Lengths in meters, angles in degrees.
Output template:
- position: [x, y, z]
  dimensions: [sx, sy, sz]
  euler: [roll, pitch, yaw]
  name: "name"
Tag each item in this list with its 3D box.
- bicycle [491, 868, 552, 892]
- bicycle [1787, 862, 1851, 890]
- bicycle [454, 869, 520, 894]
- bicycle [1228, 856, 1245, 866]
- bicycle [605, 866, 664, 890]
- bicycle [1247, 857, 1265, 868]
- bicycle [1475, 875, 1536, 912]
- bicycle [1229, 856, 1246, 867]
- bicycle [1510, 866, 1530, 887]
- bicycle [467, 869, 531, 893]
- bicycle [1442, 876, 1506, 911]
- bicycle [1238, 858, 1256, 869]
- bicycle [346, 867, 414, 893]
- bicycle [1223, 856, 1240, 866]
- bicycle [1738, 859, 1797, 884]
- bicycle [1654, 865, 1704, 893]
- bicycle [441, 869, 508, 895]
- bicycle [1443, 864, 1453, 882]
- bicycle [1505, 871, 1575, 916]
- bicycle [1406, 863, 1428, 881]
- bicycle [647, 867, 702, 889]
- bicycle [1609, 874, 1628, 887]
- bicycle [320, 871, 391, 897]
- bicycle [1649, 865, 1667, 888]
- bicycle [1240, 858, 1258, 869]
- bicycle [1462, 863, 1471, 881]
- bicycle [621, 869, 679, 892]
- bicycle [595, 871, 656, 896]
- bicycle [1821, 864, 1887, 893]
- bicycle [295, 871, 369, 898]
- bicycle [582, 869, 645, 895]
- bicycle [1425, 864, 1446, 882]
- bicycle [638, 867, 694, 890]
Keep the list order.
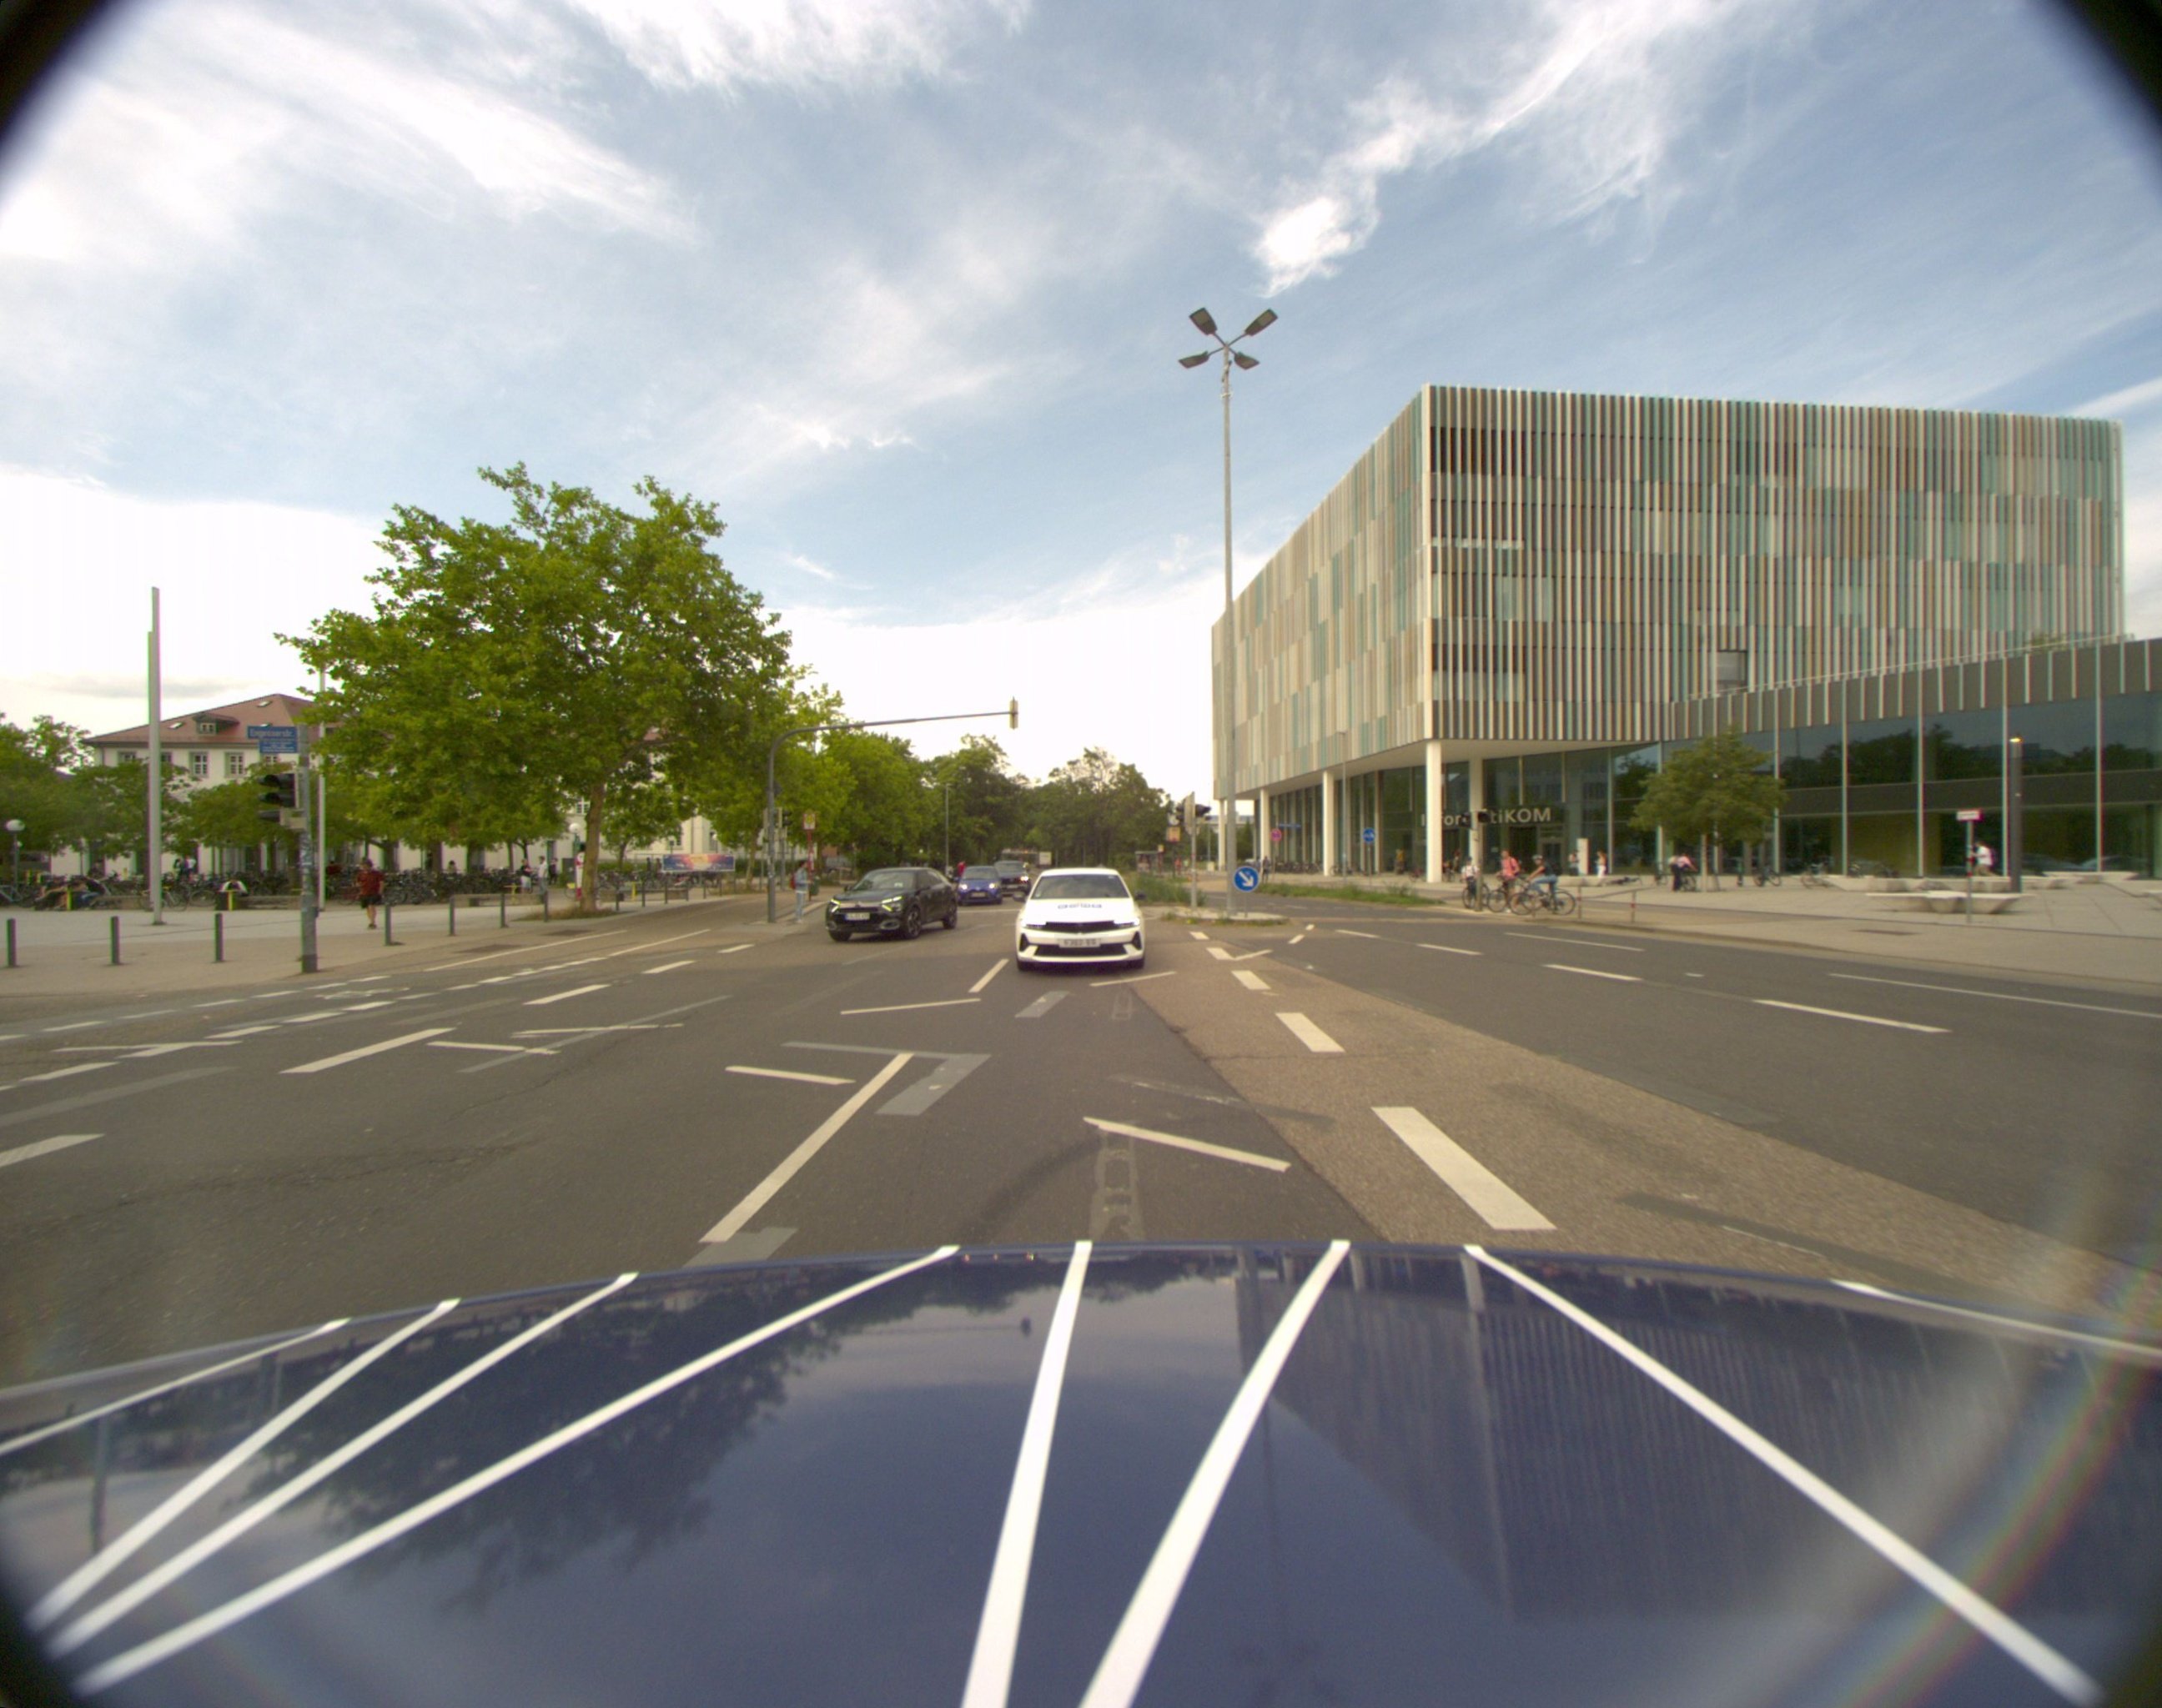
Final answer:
- position: [-28.544, 1.317, 38.775]
  dimensions: [2.473, 1.136, 0.717]
  euler: [-1, 0, -4]
  name: "bicycle"
- position: [30.326, 0.889, 31.229]
  dimensions: [2.685, 1.083, 0.796]
  euler: [-1, 0, -20]
  name: "bicycle"
- position: [-28.391, 1.325, 36.349]
  dimensions: [2.473, 1.136, 0.717]
  euler: [-1, 0, -4]
  name: "bicycle"
- position: [16.852, 0.799, 82.401]
  dimensions: [1.704, 1.017, 0.434]
  euler: [-3, 1, -10]
  name: "bicycle"
- position: [-22.136, 1.201, 37.703]
  dimensions: [2.473, 1.136, 0.717]
  euler: [-1, 0, -4]
  name: "bicycle"
- position: [17.410, 0.851, 75.420]
  dimensions: [1.704, 1.017, 0.389]
  euler: [-3, 1, -10]
  name: "bicycle"
- position: [12.631, 1.159, 22.591]
  dimensions: [1.693, 0.983, 0.571]
  euler: [-2, 1, -19]
  name: "bicycle"
- position: [16.758, 0.808, 81.512]
  dimensions: [1.704, 1.017, 0.434]
  euler: [-3, 1, -10]
  name: "bicycle"
- position: [22.939, 1.178, 39.692]
  dimensions: [1.549, 1.023, 0.393]
  euler: [-3, 1, -42]
  name: "bicycle"
- position: [-28.445, 1.321, 37.143]
  dimensions: [2.473, 1.136, 0.717]
  euler: [-1, 0, -4]
  name: "bicycle"
- position: [12.619, 1.247, 24.389]
  dimensions: [1.824, 0.983, 0.727]
  euler: [-2, 1, -19]
  name: "bicycle"
- position: [16.977, 0.997, 77.890]
  dimensions: [1.704, 1.017, 0.434]
  euler: [-3, 1, -10]
  name: "bicycle"
- position: [-33.602, 1.239, 36.419]
  dimensions: [2.473, 1.136, 0.717]
  euler: [-1, 0, -4]
  name: "bicycle"
- position: [16.634, 0.796, 83.869]
  dimensions: [1.704, 1.017, 0.434]
  euler: [-3, 1, -10]
  name: "bicycle"
- position: [29.323, 0.721, 32.437]
  dimensions: [2.685, 0.993, 0.672]
  euler: [-1, 0, -20]
  name: "bicycle"
- position: [21.958, 0.900, 27.937]
  dimensions: [0.440, 0.993, 1.748]
  euler: [-1, 0, -2]
  name: "bicycle"
- position: [-28.341, 1.293, 35.518]
  dimensions: [2.473, 1.136, 0.717]
  euler: [-1, 0, -4]
  name: "bicycle"
- position: [20.595, 1.055, 42.573]
  dimensions: [0.393, 0.932, 1.601]
  euler: [-2, 1, 29]
  name: "bicycle"
- position: [12.788, 1.085, 21.178]
  dimensions: [1.897, 1.163, 0.606]
  euler: [-1, 0, -20]
  name: "bicycle"
- position: [19.670, 1.053, 44.456]
  dimensions: [1.614, 0.932, 0.393]
  euler: [-3, 1, -38]
  name: "bicycle"
- position: [-21.624, 1.279, 40.432]
  dimensions: [2.473, 1.136, 0.717]
  euler: [-1, 0, -4]
  name: "bicycle"
- position: [25.476, 1.238, 36.008]
  dimensions: [0.622, 0.518, 2.255]
  euler: [-1, 0, 38]
  name: "bicycle"
- position: [-33.500, 1.361, 35.102]
  dimensions: [2.473, 1.136, 0.717]
  euler: [-1, 0, -4]
  name: "bicycle"
- position: [26.688, 1.013, 35.124]
  dimensions: [0.622, 0.979, 2.255]
  euler: [-1, 0, 38]
  name: "bicycle"
- position: [17.071, 0.994, 77.044]
  dimensions: [1.704, 1.017, 0.434]
  euler: [-3, 1, -10]
  name: "bicycle"
- position: [21.294, 0.989, 41.954]
  dimensions: [0.393, 0.932, 1.601]
  euler: [-2, 1, 29]
  name: "bicycle"
- position: [-21.907, 1.345, 38.618]
  dimensions: [2.473, 1.136, 0.717]
  euler: [-1, 0, -4]
  name: "bicycle"
- position: [-22.088, 1.435, 36.853]
  dimensions: [2.473, 1.136, 0.717]
  euler: [-1, 0, -4]
  name: "bicycle"
- position: [30.579, 0.950, 30.058]
  dimensions: [2.685, 1.083, 0.796]
  euler: [-1, 0, -20]
  name: "bicycle"
- position: [-33.420, 1.366, 33.907]
  dimensions: [2.473, 1.136, 0.717]
  euler: [-1, 0, -4]
  name: "bicycle"
- position: [-22.036, 1.312, 35.845]
  dimensions: [2.473, 1.136, 0.717]
  euler: [-1, 0, -4]
  name: "bicycle"
- position: [20.518, 1.078, 43.977]
  dimensions: [1.601, 0.932, 0.393]
  euler: [-3, 1, -38]
  name: "bicycle"
- position: [-21.602, 1.286, 39.610]
  dimensions: [2.473, 1.136, 0.717]
  euler: [-1, 0, -4]
  name: "bicycle"
